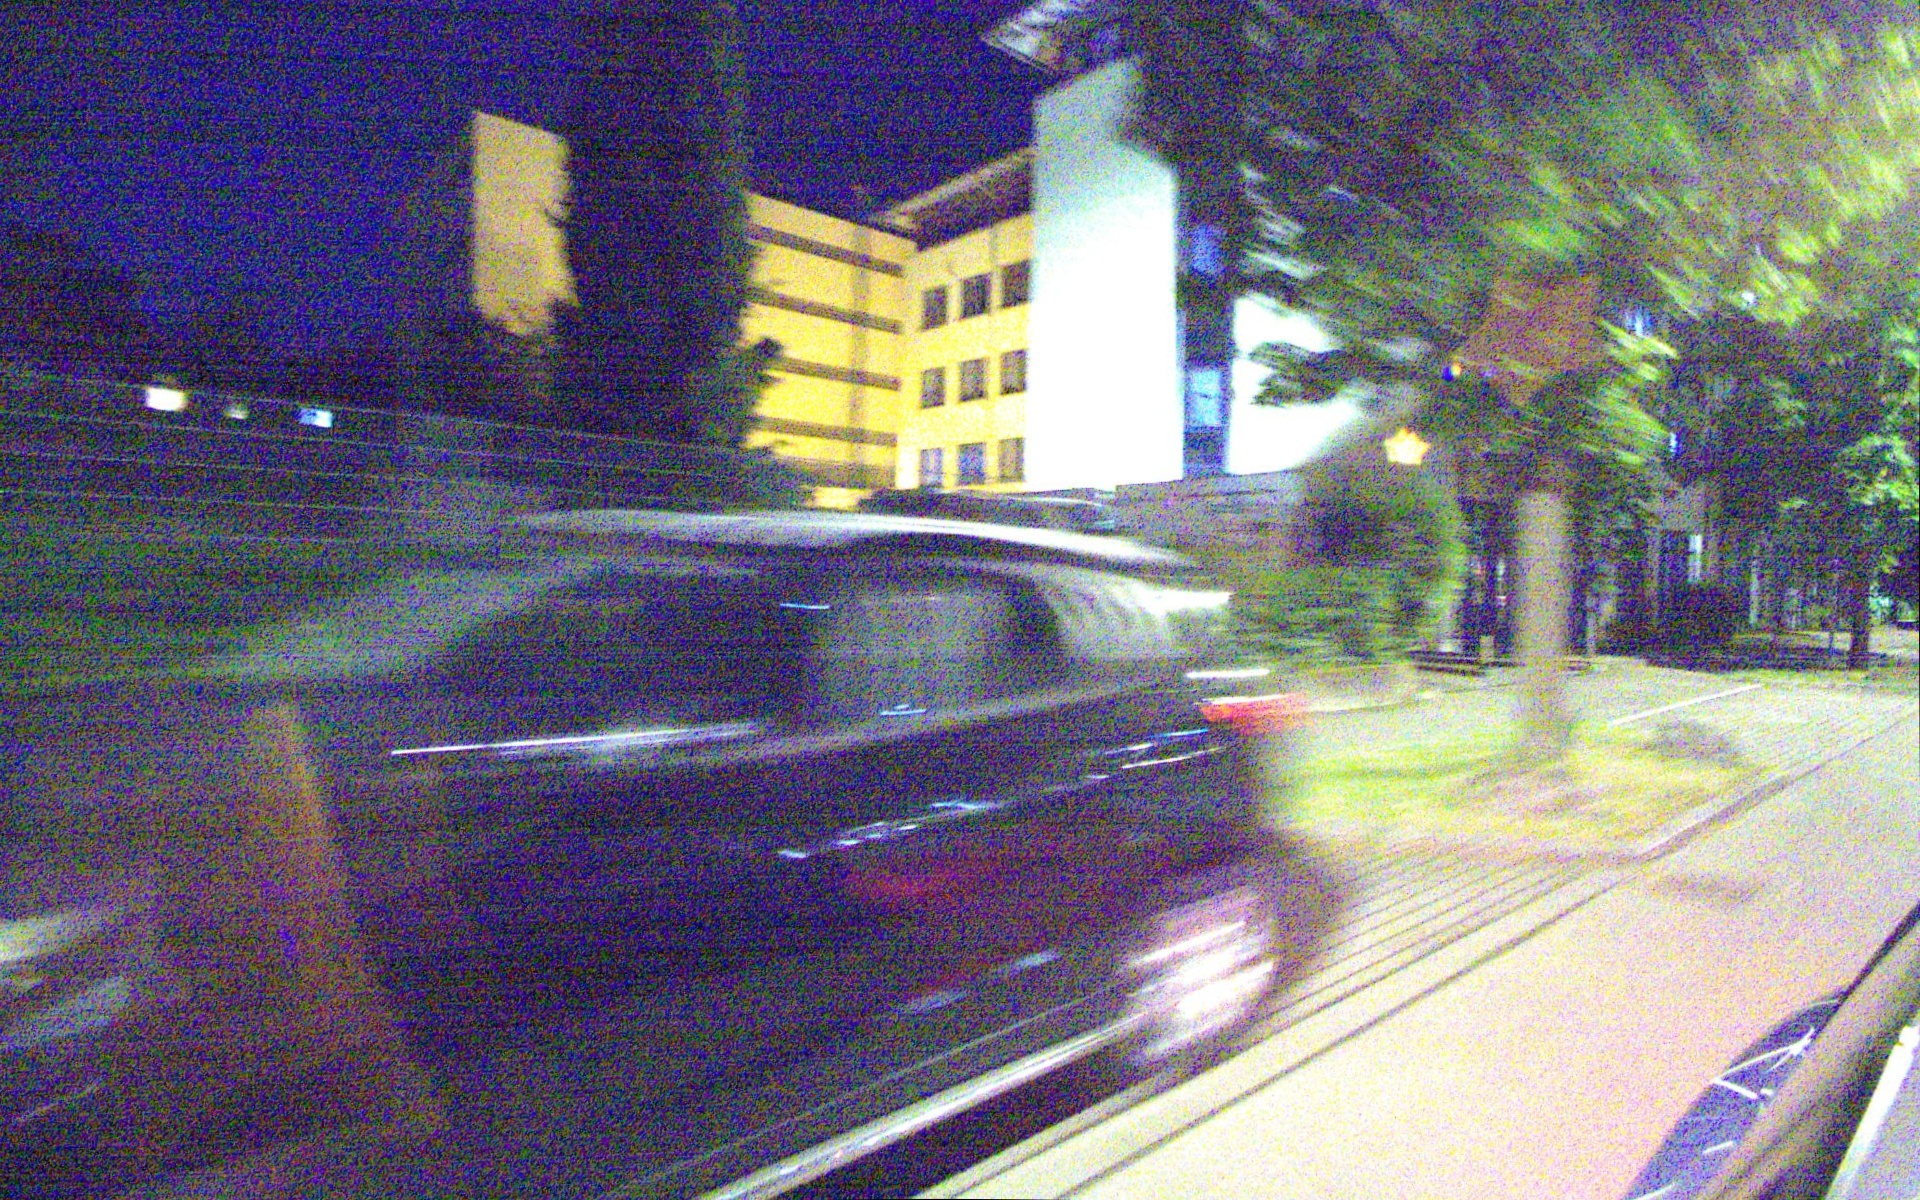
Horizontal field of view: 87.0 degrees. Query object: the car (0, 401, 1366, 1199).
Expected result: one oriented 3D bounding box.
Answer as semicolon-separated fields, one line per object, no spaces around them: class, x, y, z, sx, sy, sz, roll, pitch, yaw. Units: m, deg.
car;-0.751;0.532;2.904;4.136;1.674;1.857;0;3;-42
